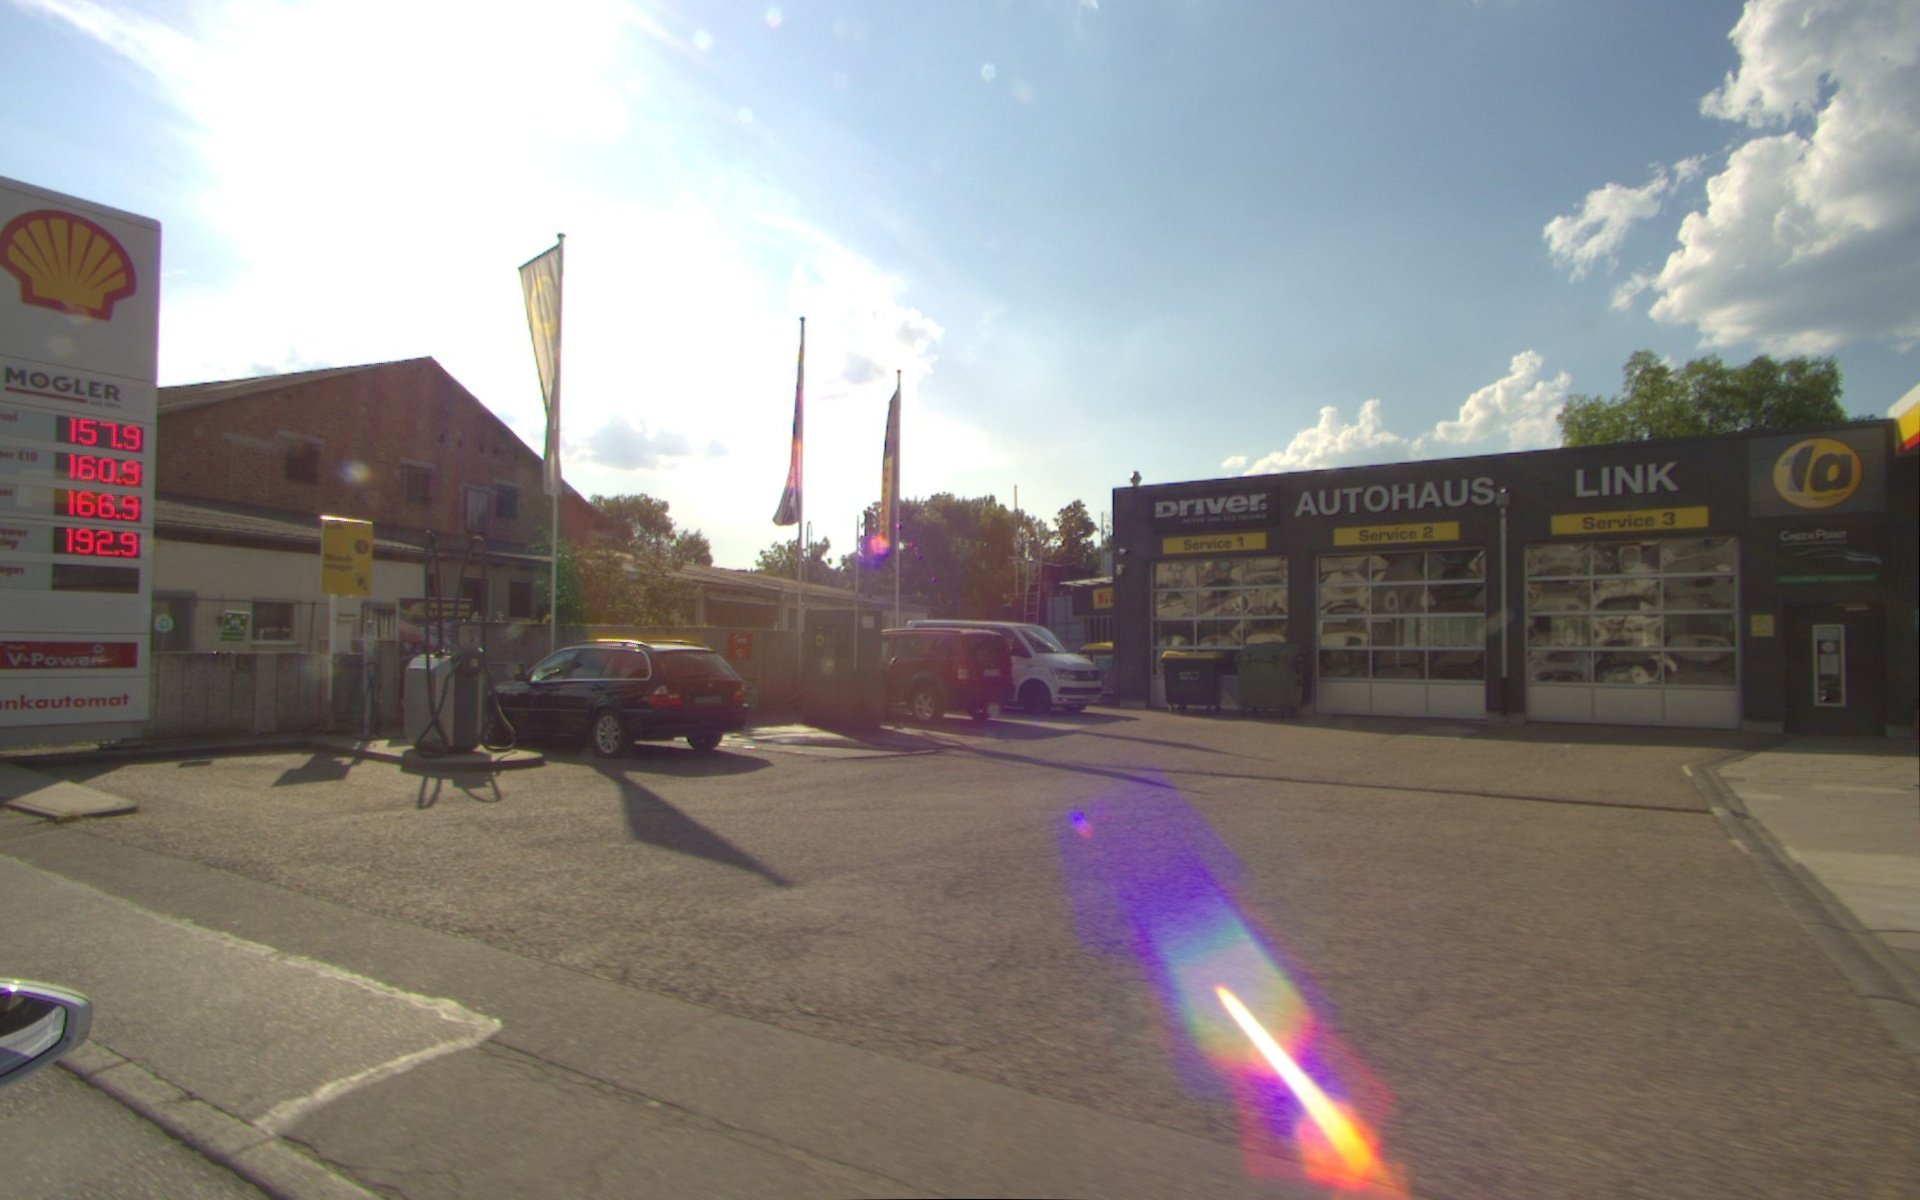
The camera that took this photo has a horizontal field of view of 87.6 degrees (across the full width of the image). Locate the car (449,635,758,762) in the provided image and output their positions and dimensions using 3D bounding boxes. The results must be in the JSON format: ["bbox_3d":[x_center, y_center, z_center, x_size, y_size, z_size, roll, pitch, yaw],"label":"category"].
[{"bbox_3d":[-4.882,1.229,13.513,4.318,1.445,1.576,-1,-3,32],"label":"car"}]

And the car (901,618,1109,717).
[{"bbox_3d":[0.918,1.410,22.159,4.493,1.948,1.573,0,-1,36],"label":"car"}]

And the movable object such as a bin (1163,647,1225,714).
[{"bbox_3d":[5.079,1.716,21.717,1.110,1.393,0.987,0,-2,28],"label":"movable object such as a bin"}]

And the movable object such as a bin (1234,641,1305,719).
[{"bbox_3d":[6.422,1.631,20.760,1.192,1.549,0.986,0,-2,32],"label":"movable object such as a bin"}]

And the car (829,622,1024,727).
[{"bbox_3d":[-0.685,1.374,19.462,3.584,1.815,1.573,0,-1,36],"label":"car"}]
